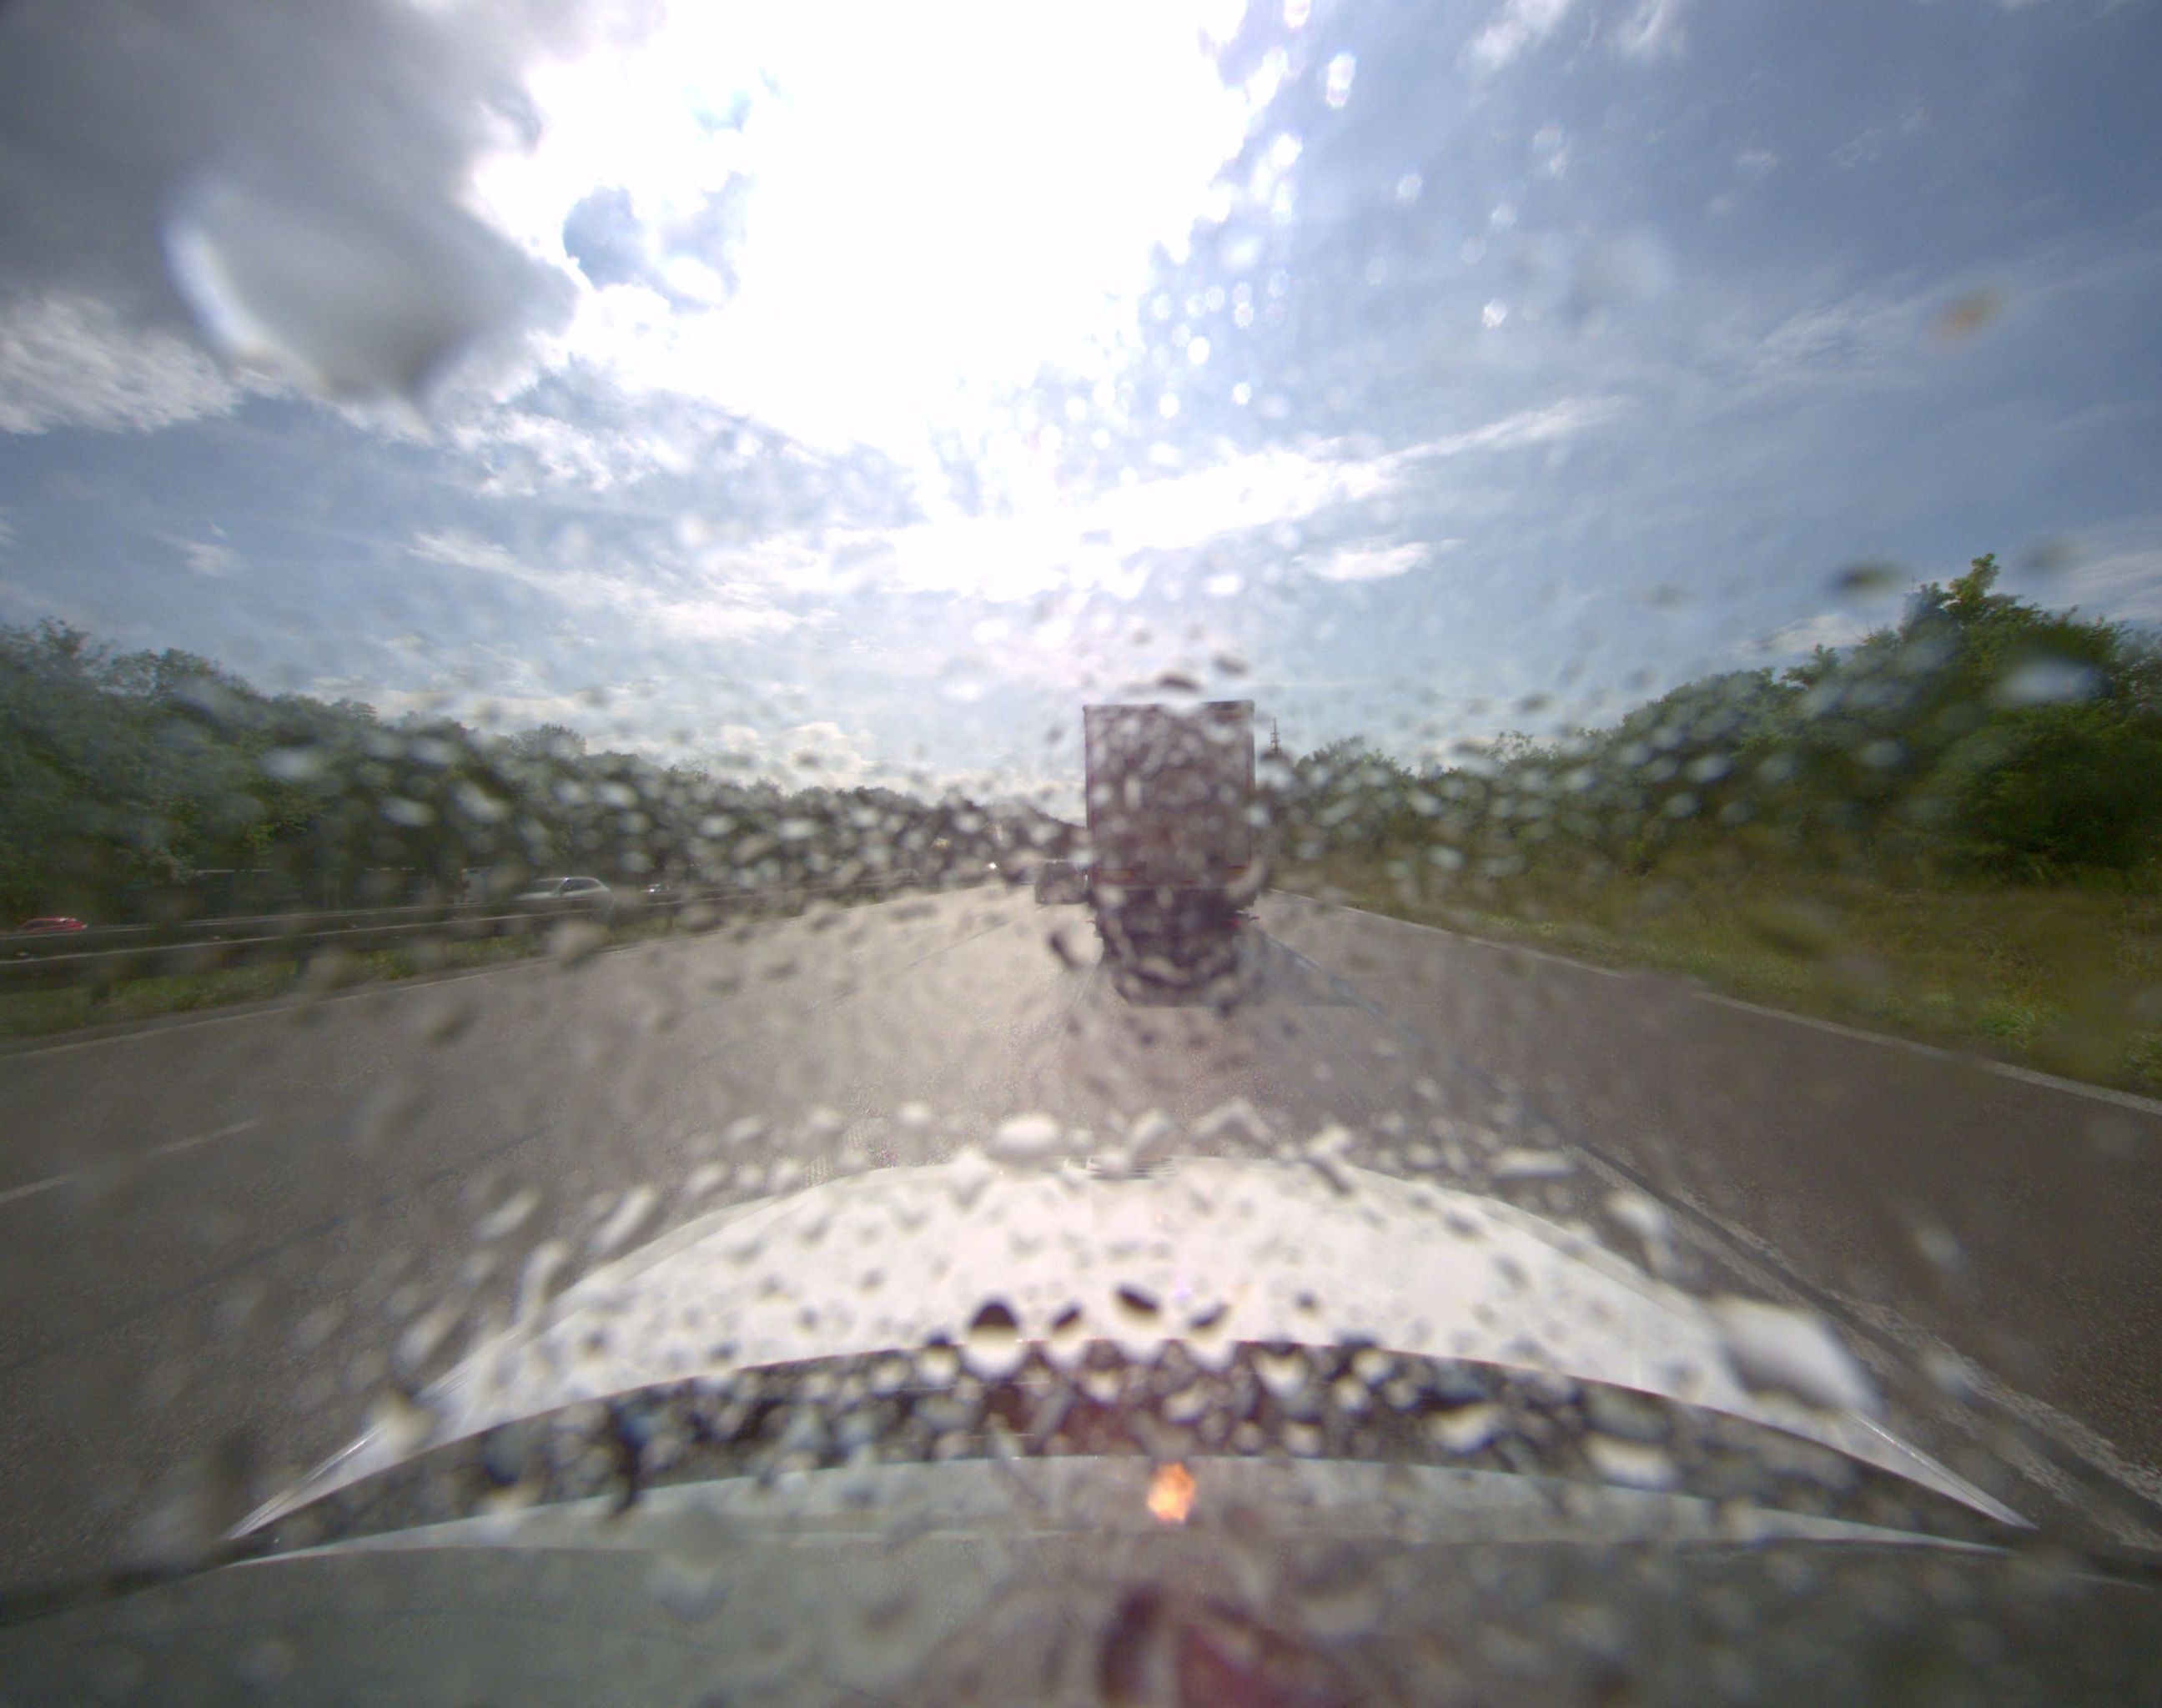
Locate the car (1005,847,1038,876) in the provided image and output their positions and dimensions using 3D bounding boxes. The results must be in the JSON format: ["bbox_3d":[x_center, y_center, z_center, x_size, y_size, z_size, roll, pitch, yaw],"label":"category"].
[{"bbox_3d":[-3.932,0.499,54.219,1.685,1.805,3.979,-1,-1,3],"label":"car"}]

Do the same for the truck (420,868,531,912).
[{"bbox_3d":[-52.729,3.028,71.270,3.769,3.590,7.365,-1,-1,5],"label":"truck"}]

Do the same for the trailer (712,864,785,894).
[{"bbox_3d":[-45.464,3.305,111.896,3.763,3.649,10.532,-2,-1,12],"label":"trailer"}]

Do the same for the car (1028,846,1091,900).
[{"bbox_3d":[-0.757,0.723,31.859,2.266,1.954,4.821,-1,-1,1],"label":"car"}]

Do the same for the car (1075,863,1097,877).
[{"bbox_3d":[0.605,1.888,94.132,1.984,1.565,4.763,-1,-1,6],"label":"car"}]

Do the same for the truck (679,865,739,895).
[{"bbox_3d":[-47.145,3.248,103.525,3.764,3.660,6.724,-1,-1,10],"label":"truck"}]

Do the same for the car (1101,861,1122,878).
[{"bbox_3d":[2.949,1.465,77.869,1.857,1.516,3.979,-1,-1,3],"label":"car"}]

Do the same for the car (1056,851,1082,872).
[{"bbox_3d":[-1.176,0.749,81.541,1.969,2.054,4.763,-1,-1,6],"label":"car"}]

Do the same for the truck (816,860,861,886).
[{"bbox_3d":[-39.580,3.017,133.241,3.757,4.117,7.078,-1,-1,18],"label":"truck"}]

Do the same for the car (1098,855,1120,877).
[{"bbox_3d":[2.373,1.031,68.369,1.685,1.805,3.979,-1,-1,3],"label":"car"}]

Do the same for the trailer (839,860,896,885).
[{"bbox_3d":[-36.891,3.107,141.275,3.757,4.117,11.780,-1,-1,18],"label":"trailer"}]

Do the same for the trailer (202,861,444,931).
[{"bbox_3d":[-54.490,2.786,59.611,3.770,4.406,13.823,-2,-1,6],"label":"trailer"}]

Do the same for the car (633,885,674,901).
[{"bbox_3d":[-49.102,4.448,93.613,2.047,1.718,4.377,-1,-1,8],"label":"car"}]

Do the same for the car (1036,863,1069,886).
[{"bbox_3d":[-2.218,1.607,64.846,1.899,1.636,4.623,-3,-1,6],"label":"car"}]

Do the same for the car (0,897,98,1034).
[{"bbox_3d":[-16.207,1.581,10.177,1.822,1.891,4.785,-1,-1,4],"label":"car"}]

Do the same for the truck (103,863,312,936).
[{"bbox_3d":[-55.198,2.751,51.938,3.769,4.234,8.429,-1,-1,5],"label":"truck"}]

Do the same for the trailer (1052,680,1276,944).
[{"bbox_3d":[1.732,-0.569,19.140,3.269,3.899,14.143,0,0,4],"label":"trailer"}]

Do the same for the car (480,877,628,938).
[{"bbox_3d":[-18.338,1.801,28.670,1.822,1.891,4.785,-1,-1,4],"label":"car"}]

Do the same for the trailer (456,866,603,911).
[{"bbox_3d":[-52.060,3.099,77.746,3.770,3.649,13.366,-2,-1,6],"label":"trailer"}]
